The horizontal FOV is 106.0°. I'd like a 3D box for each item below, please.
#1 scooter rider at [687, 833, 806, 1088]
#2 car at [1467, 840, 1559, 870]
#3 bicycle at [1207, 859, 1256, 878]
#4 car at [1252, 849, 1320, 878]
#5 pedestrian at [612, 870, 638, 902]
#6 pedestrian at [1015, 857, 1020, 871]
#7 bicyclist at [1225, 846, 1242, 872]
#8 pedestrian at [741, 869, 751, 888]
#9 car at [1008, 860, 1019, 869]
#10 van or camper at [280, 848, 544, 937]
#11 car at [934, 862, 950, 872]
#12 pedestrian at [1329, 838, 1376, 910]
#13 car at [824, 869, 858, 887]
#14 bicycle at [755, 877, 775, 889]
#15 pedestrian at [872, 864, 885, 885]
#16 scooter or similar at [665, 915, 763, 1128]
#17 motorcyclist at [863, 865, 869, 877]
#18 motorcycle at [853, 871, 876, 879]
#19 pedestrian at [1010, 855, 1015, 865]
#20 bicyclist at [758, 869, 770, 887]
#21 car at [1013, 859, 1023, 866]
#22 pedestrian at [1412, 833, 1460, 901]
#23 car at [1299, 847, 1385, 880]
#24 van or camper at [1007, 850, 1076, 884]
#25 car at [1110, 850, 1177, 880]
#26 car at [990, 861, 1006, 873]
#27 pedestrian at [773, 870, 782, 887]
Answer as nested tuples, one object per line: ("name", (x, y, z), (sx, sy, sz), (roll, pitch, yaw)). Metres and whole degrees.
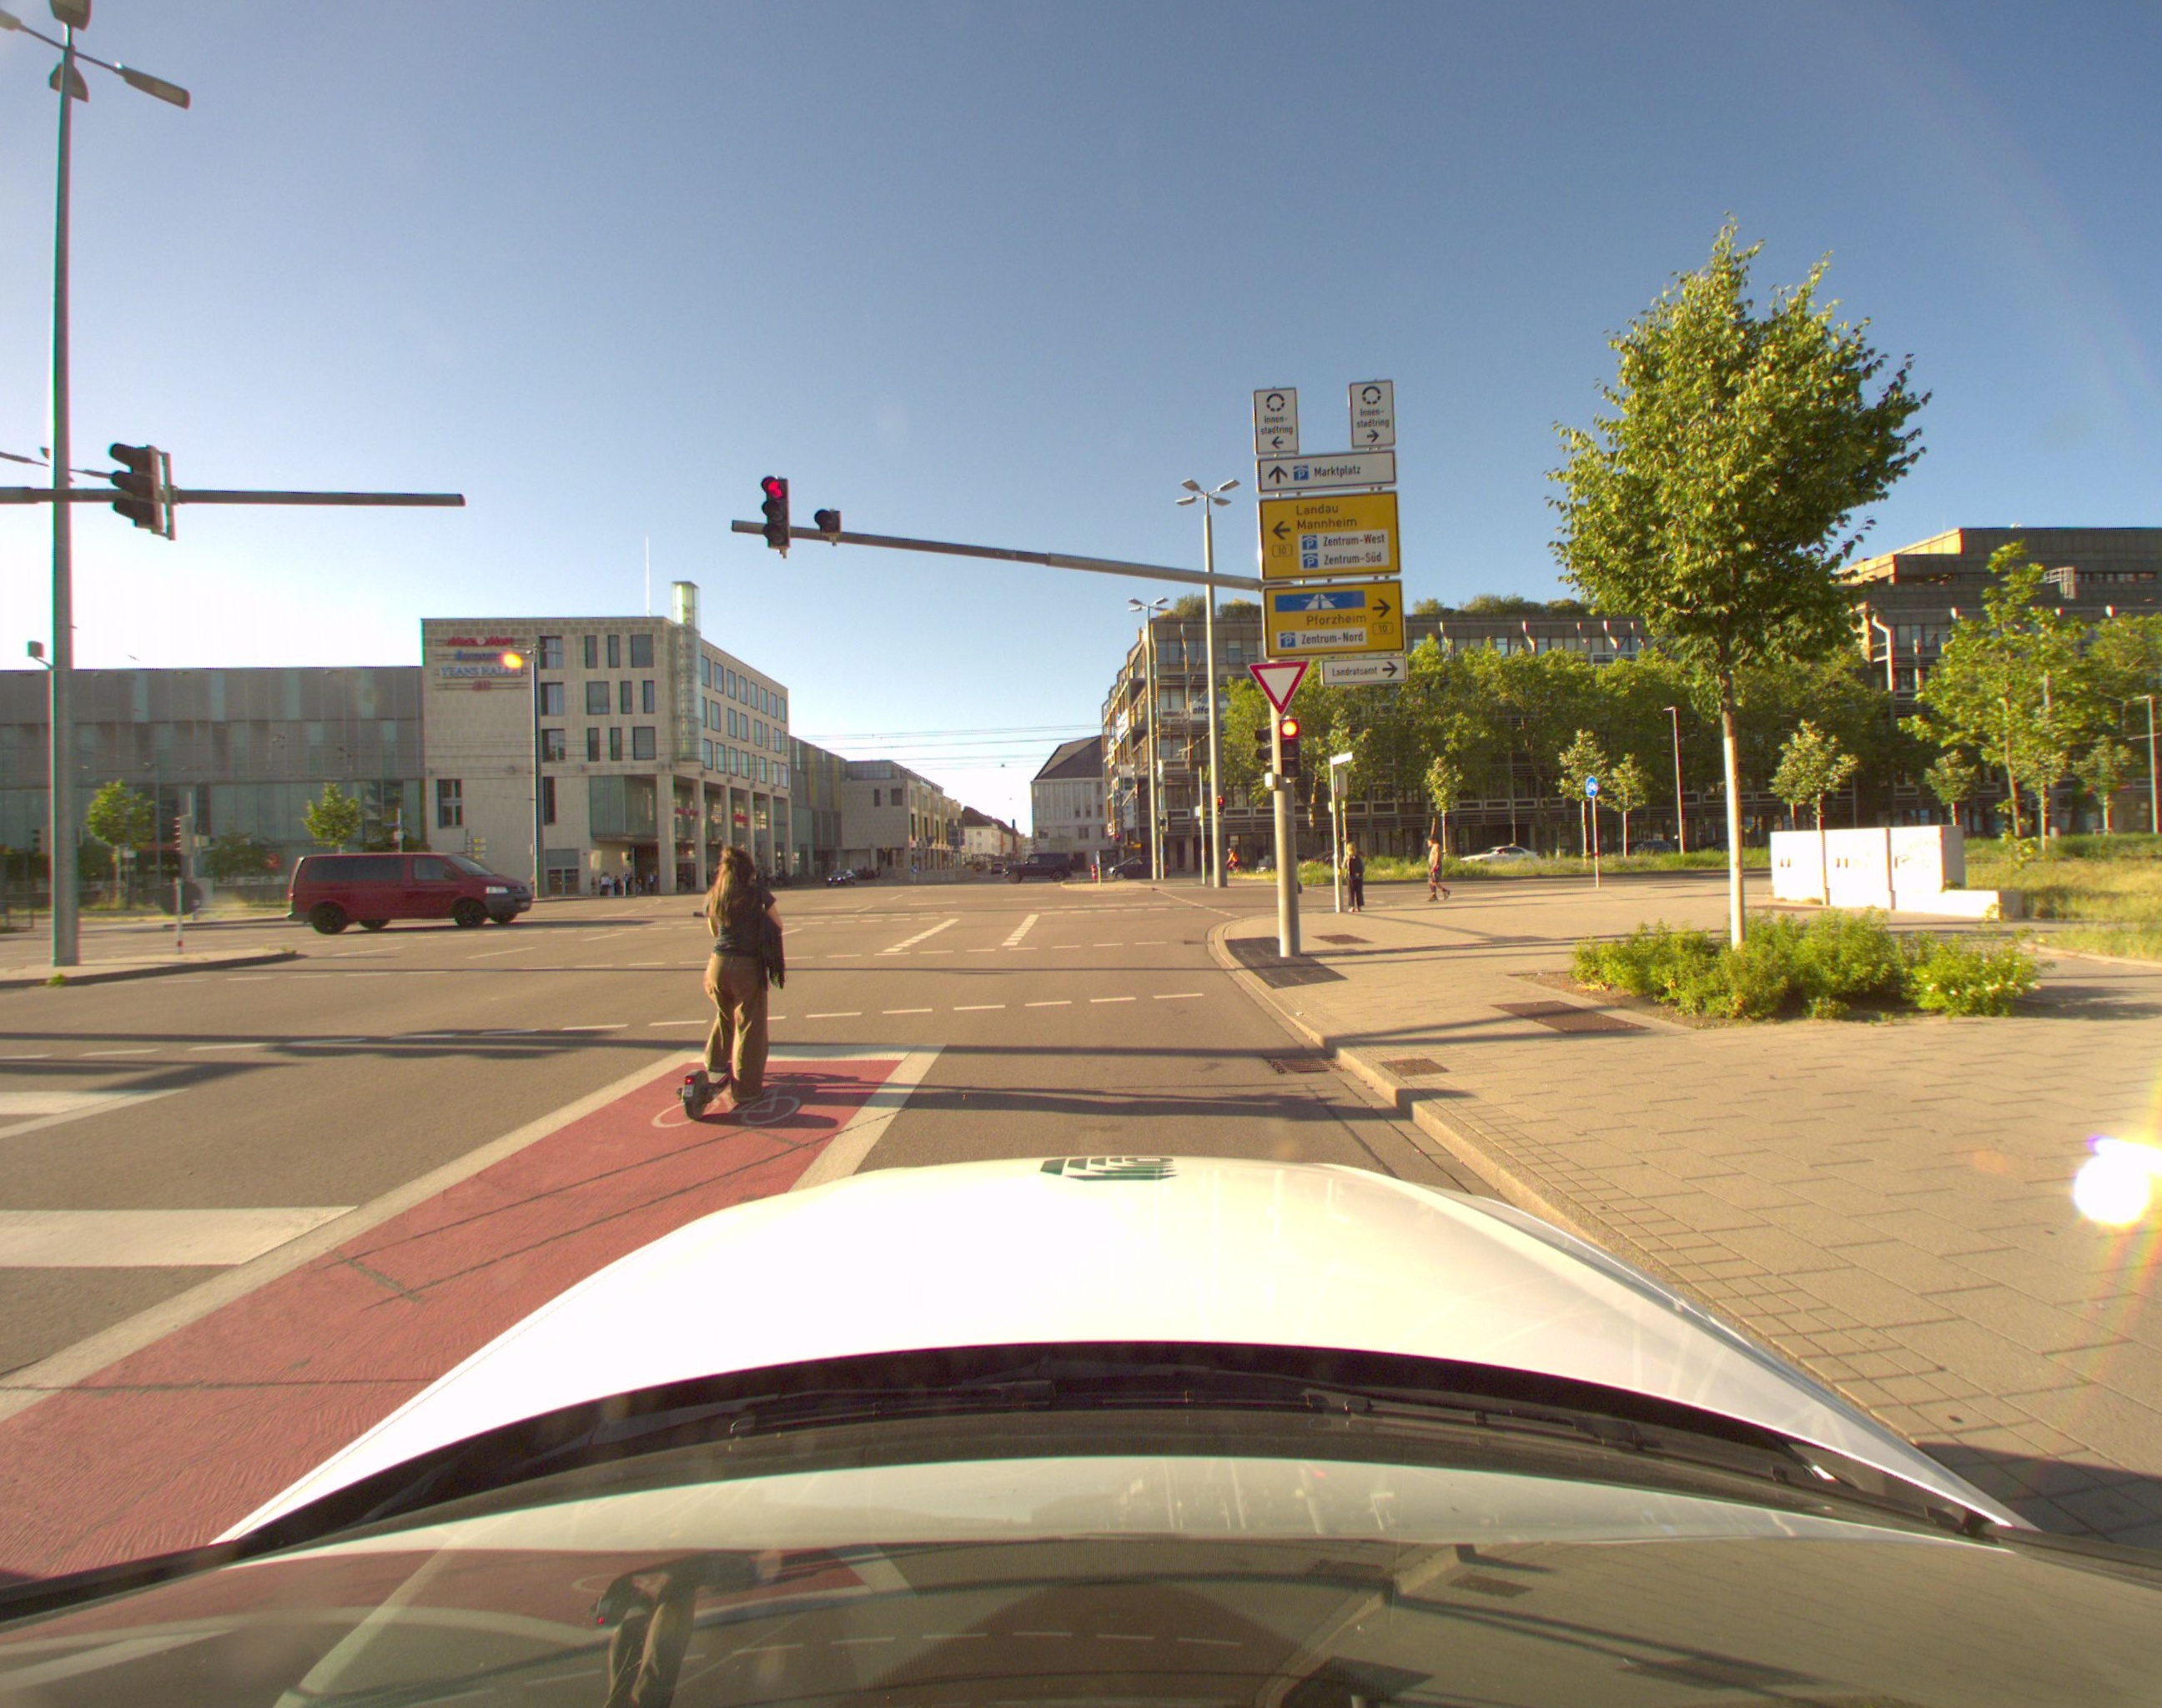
("scooter rider", (-2.116, 0.643, 5.190), (0.552, 1.530, 0.448), (-2, 0, -7))
("car", (27.260, 0.056, 51.510), (4.831, 1.684, 1.824), (-2, 0, -2))
("bicycle", (8.682, 0.822, 47.055), (2.561, 0.975, 1.047), (-2, 0, -1))
("car", (13.404, 0.609, 53.462), (3.976, 1.684, 1.824), (-2, 0, -2))
("pedestrian", (-25.135, 1.765, 44.909), (0.821, 1.675, 1.004), (-2, 0, -2))
("pedestrian", (-7.545, 1.224, 96.920), (0.490, 1.664, 0.529), (0, -1, -12))
("bicyclist", (8.828, 0.308, 47.072), (0.820, 1.474, 0.652), (-2, 0, -2))
("pedestrian", (-29.847, 2.180, 72.555), (0.590, 1.646, 0.629), (-2, 0, 1))
("car", (-12.135, 1.841, 146.449), (1.652, 1.458, 3.543), (-2, 0, 2))
("van or camper", (-17.058, 0.929, 21.067), (4.830, 2.013, 1.999), (-2, 0, -12))
("car", (-20.894, 1.961, 122.747), (1.652, 1.458, 3.543), (-2, 0, 2))
("pedestrian", (6.287, 0.454, 18.919), (0.763, 1.614, 0.874), (-2, 0, 0))
("car", (-20.731, 2.032, 70.473), (1.670, 1.357, 4.021), (-2, 0, 1))
("bicycle", (-25.434, 2.341, 65.624), (0.633, 0.903, 2.220), (-2, 0, 3))
("pedestrian", (-15.834, 1.600, 63.739), (0.771, 1.638, 0.628), (-2, 0, 14))
("scooter or similar", (-2.202, 0.959, 4.949), (0.306, 1.107, 0.835), (-2, 0, -9))
("motorcyclist", (-26.168, 2.089, 99.147), (0.627, 1.406, 0.661), (0, -1, -7))
("motorcycle", (-26.328, 2.523, 98.959), (2.600, 0.993, 1.113), (0, -1, -8))
("pedestrian", (-13.901, 1.198, 165.262), (0.907, 1.965, 0.823), (0, -1, 1))
("bicyclist", (-25.469, 1.929, 65.408), (0.623, 1.448, 0.589), (-2, 0, 3))
("car", (-12.964, 1.728, 166.851), (1.652, 1.458, 3.543), (-2, 0, 2))
("pedestrian", (9.197, 0.324, 21.116), (0.869, 1.706, 0.768), (-2, 0, 0))
("car", (14.812, 0.522, 46.259), (4.287, 1.684, 1.820), (-2, 0, -9))
("van or camper", (-2.579, 0.856, 53.366), (4.404, 2.013, 1.993), (-2, 0, -3))
("car", (3.790, 0.669, 50.068), (3.973, 1.684, 1.761), (-2, 0, 0))
("car", (-11.015, 1.755, 108.528), (1.652, 1.458, 3.543), (-2, 0, 2))
("pedestrian", (-31.513, 2.512, 84.546), (0.465, 1.729, 0.699), (-1, -1, 40))
